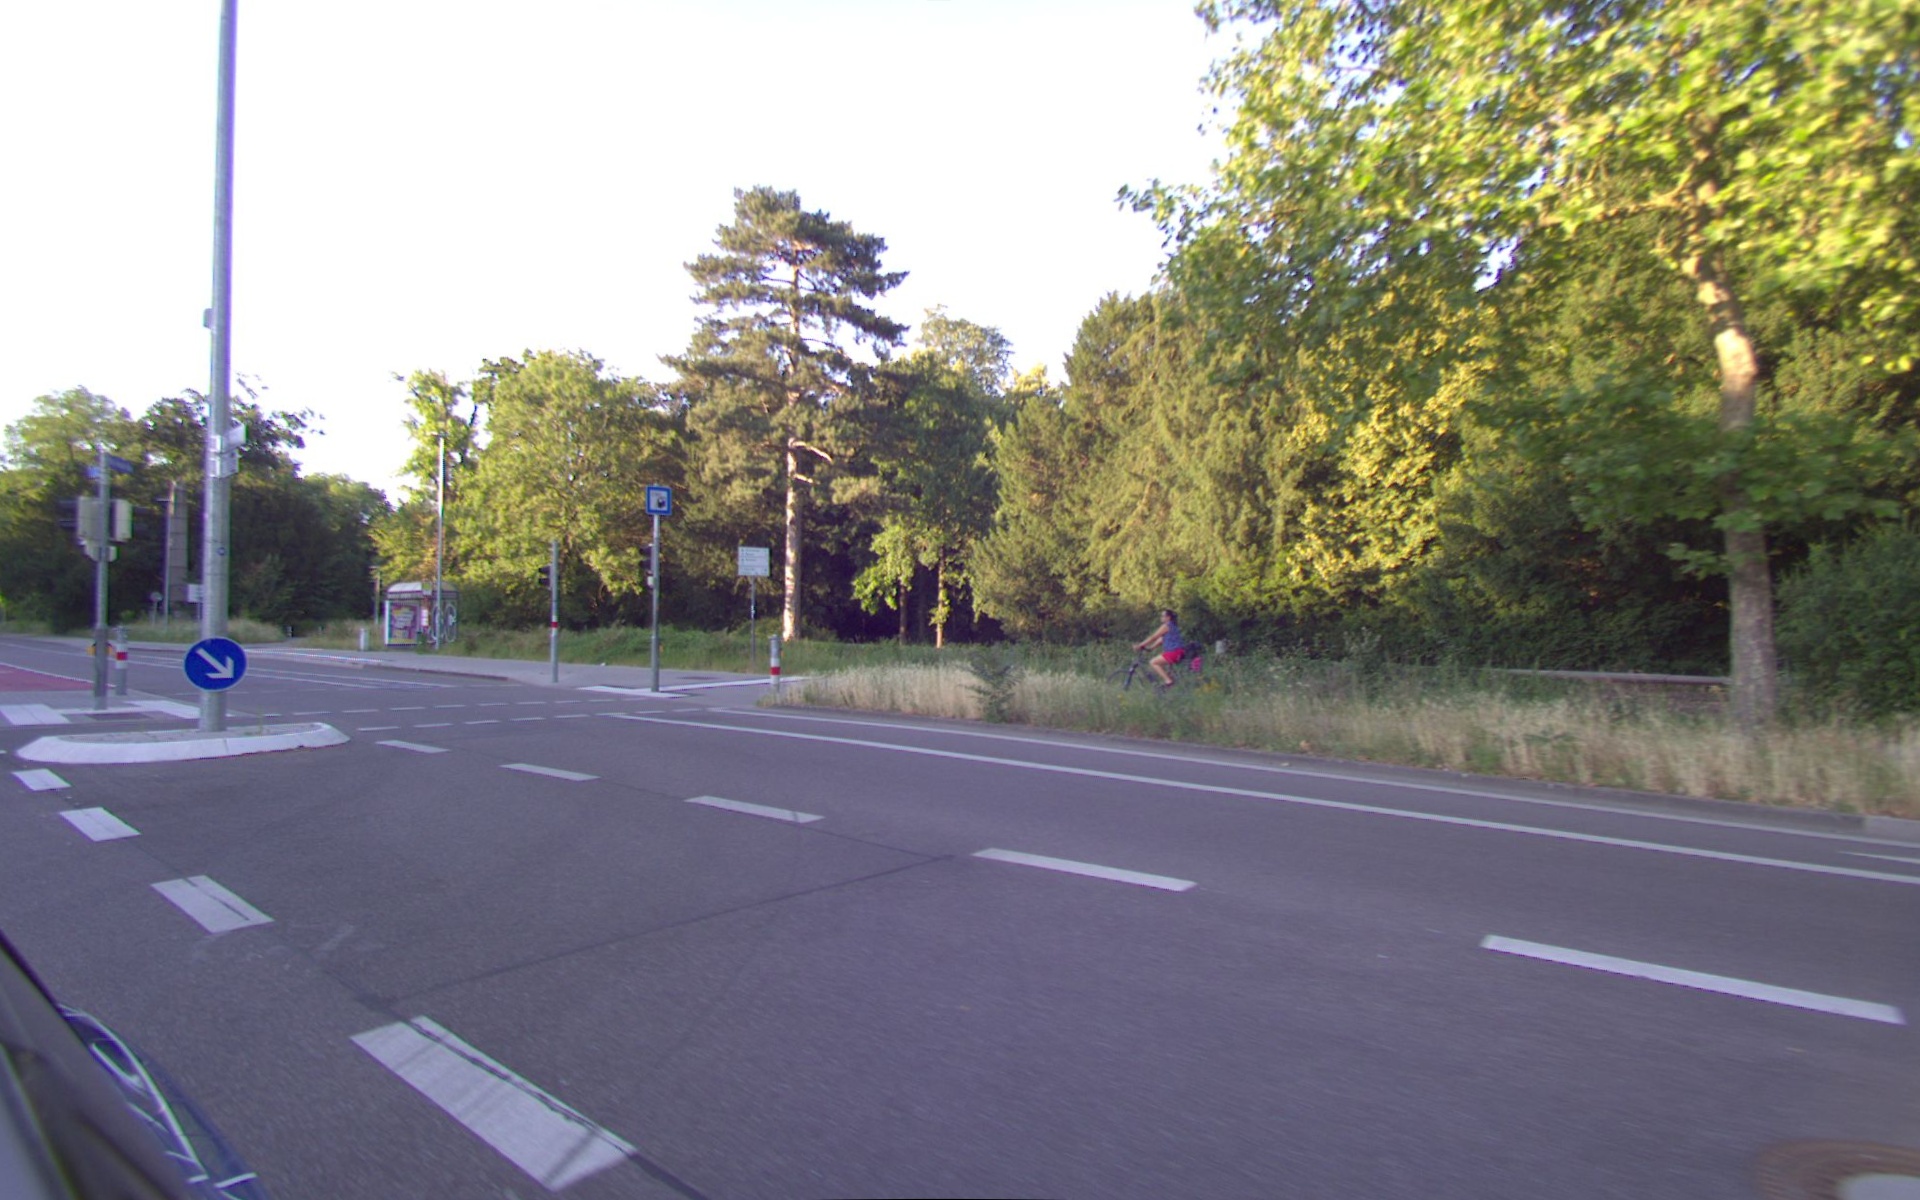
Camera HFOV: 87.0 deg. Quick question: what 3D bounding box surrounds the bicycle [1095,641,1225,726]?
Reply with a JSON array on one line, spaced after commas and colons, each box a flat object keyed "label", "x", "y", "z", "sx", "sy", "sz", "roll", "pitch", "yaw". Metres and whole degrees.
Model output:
[{"label": "bicycle", "x": 3.262, "y": 1.327, "z": 16.618, "sx": 1.979, "sy": 1.266, "sz": 0.781, "roll": -1, "pitch": -2, "yaw": 42}]

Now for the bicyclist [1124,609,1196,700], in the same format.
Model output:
[{"label": "bicyclist", "x": 3.279, "y": 0.879, "z": 16.612, "sx": 0.892, "sy": 1.438, "sz": 0.781, "roll": -1, "pitch": -2, "yaw": 42}]
